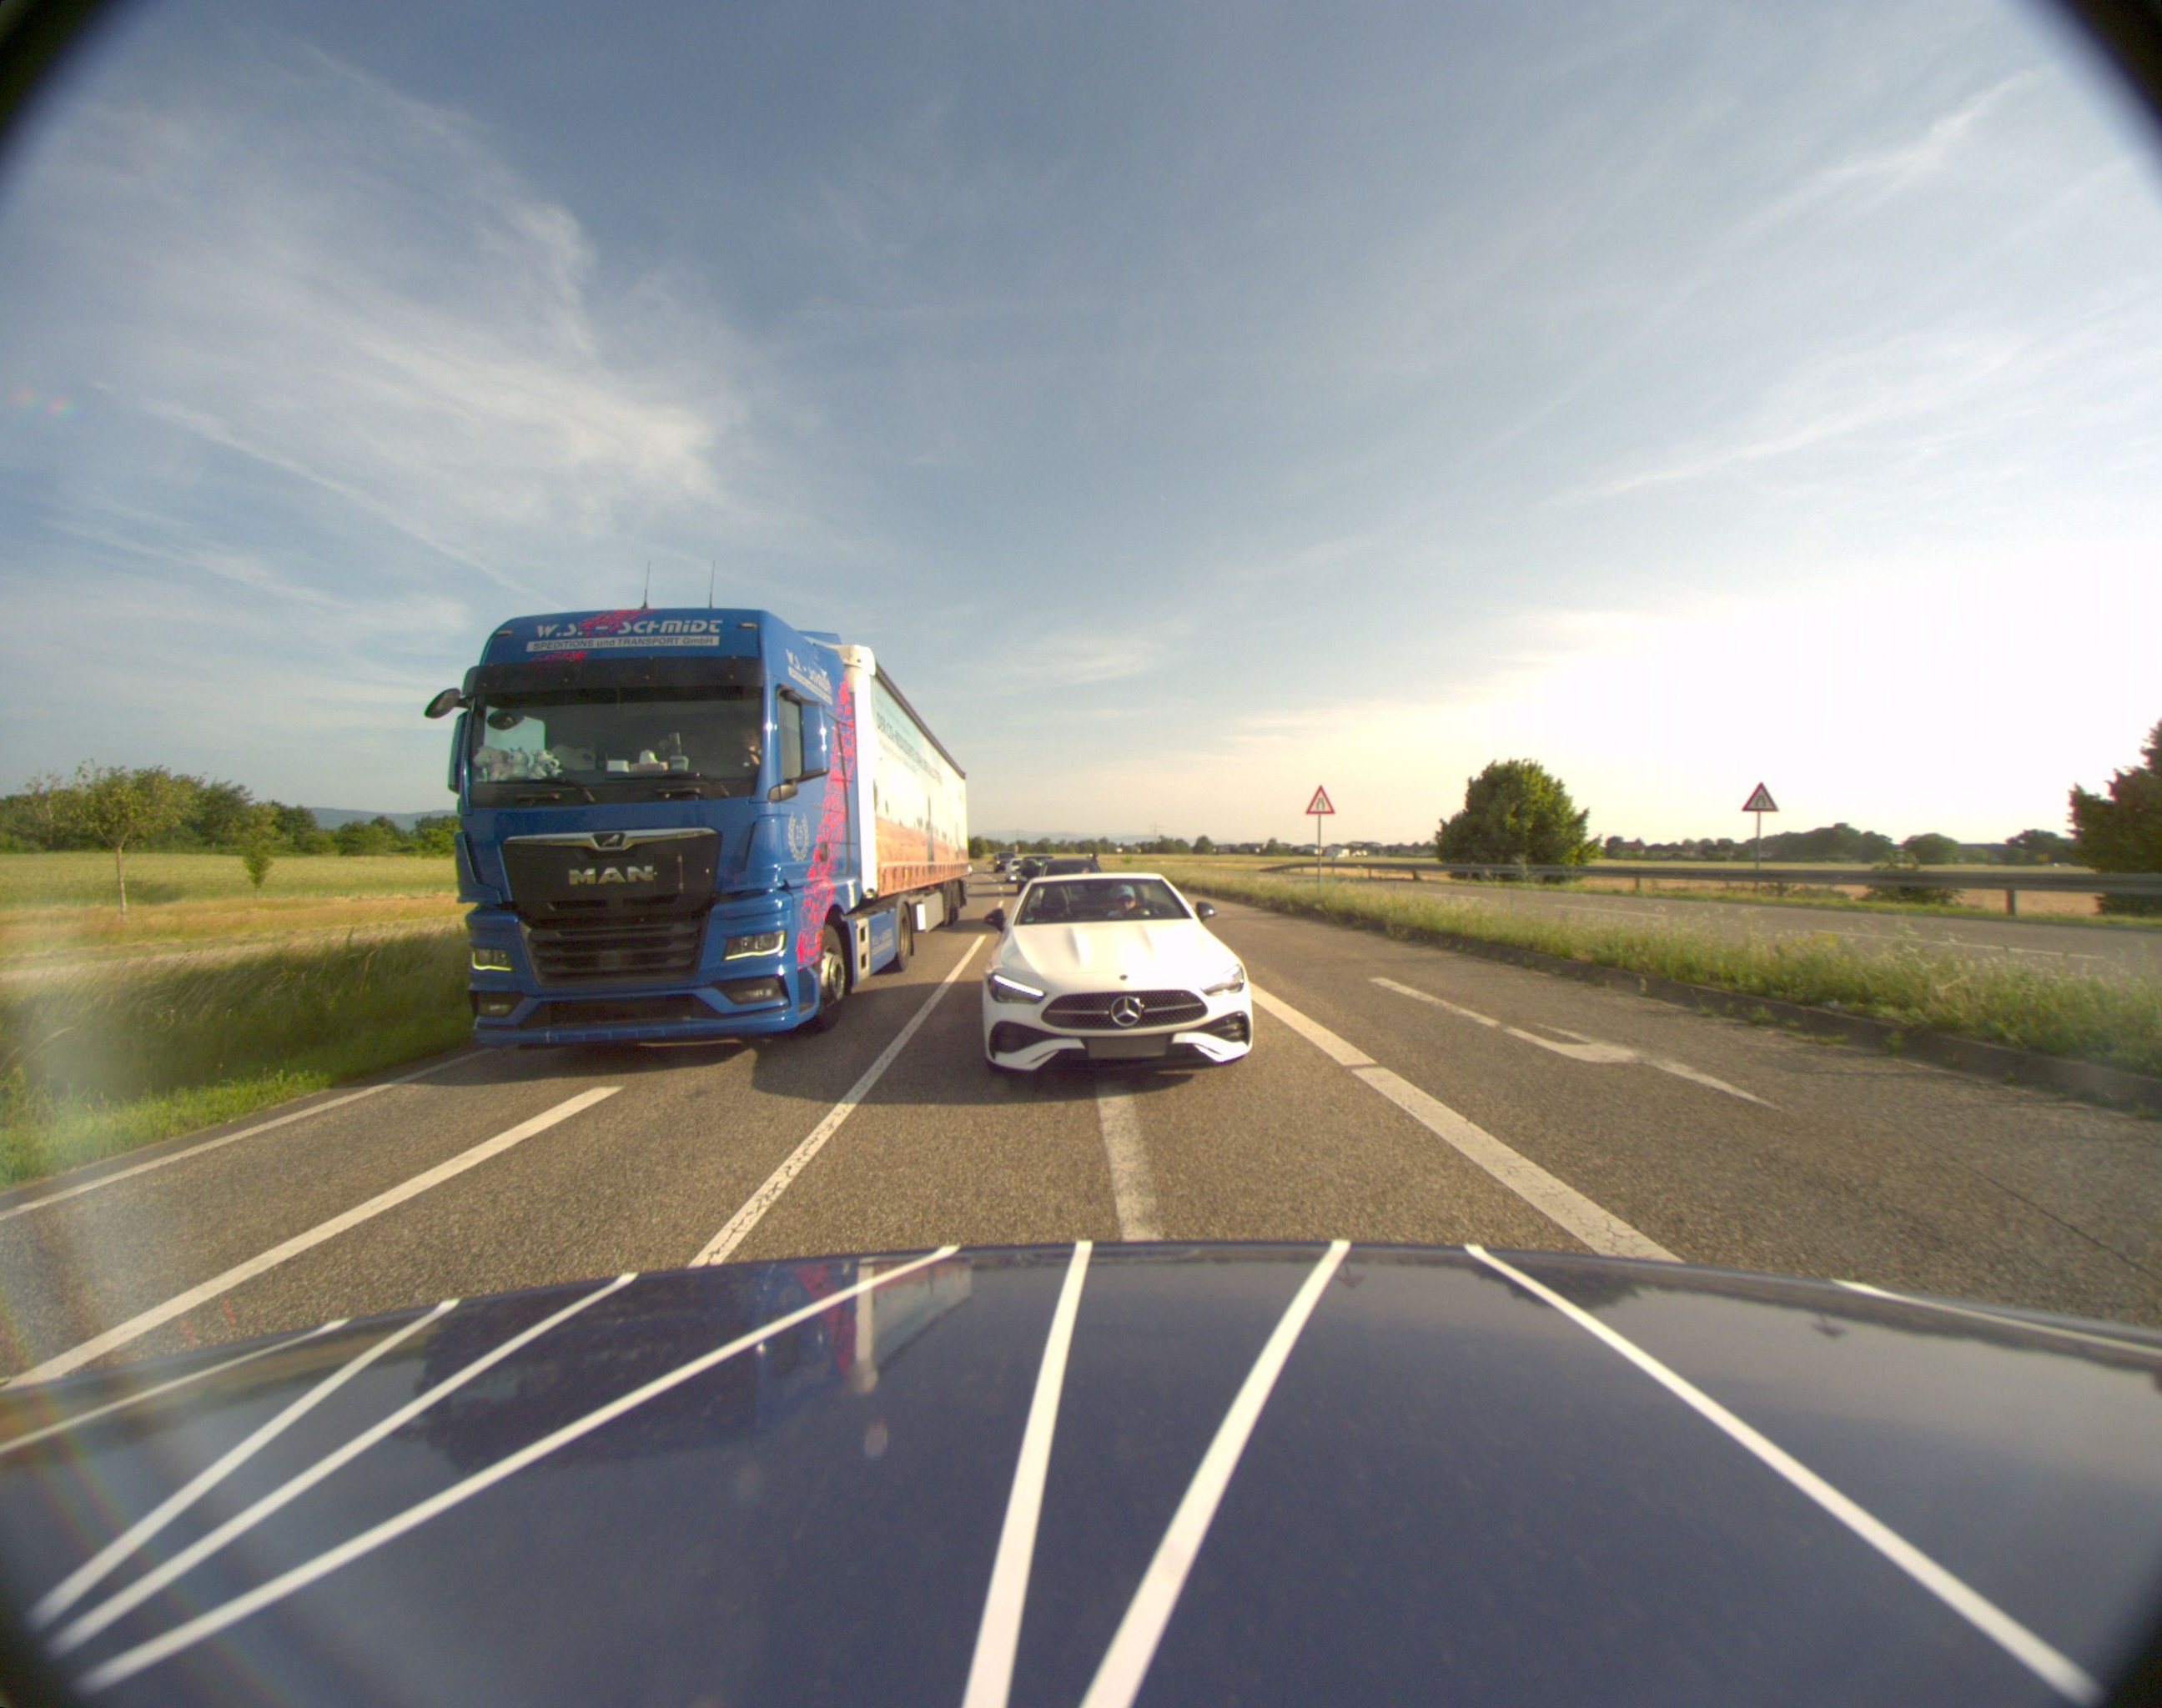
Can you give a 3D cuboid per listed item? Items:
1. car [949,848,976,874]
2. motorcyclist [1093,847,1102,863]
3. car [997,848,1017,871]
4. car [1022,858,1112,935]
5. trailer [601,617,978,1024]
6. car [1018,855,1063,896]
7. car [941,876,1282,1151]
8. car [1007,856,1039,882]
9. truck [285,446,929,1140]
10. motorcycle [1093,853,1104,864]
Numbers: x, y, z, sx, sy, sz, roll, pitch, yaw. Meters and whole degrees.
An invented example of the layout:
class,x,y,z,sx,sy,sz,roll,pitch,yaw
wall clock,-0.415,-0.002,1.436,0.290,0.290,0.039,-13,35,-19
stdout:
class,x,y,z,sx,sy,sz,roll,pitch,yaw
car,-9.638,0.578,61.990,2.000,2.002,3.997,-1,0,-8
motorcyclist,1.893,0.077,85.687,0.906,1.748,0.831,-2,1,-6
car,-6.716,0.473,68.389,1.558,1.909,4.032,-1,0,-8
car,-0.419,0.879,17.395,1.586,1.496,3.658,-1,0,-8
trailer,-4.247,-0.509,15.417,3.291,4.654,13.139,-2,1,-4
car,-1.688,0.822,30.829,1.558,1.550,3.046,-1,0,-8
car,0.128,0.980,6.377,1.941,1.389,3.917,-2,1,-2
car,-3.363,0.829,43.845,1.558,1.392,4.032,-1,0,-8
truck,-3.740,-0.463,8.057,3.309,4.631,5.729,-2,1,-4
motorcycle,1.951,0.518,85.461,0.940,1.118,2.169,-2,0,-5
